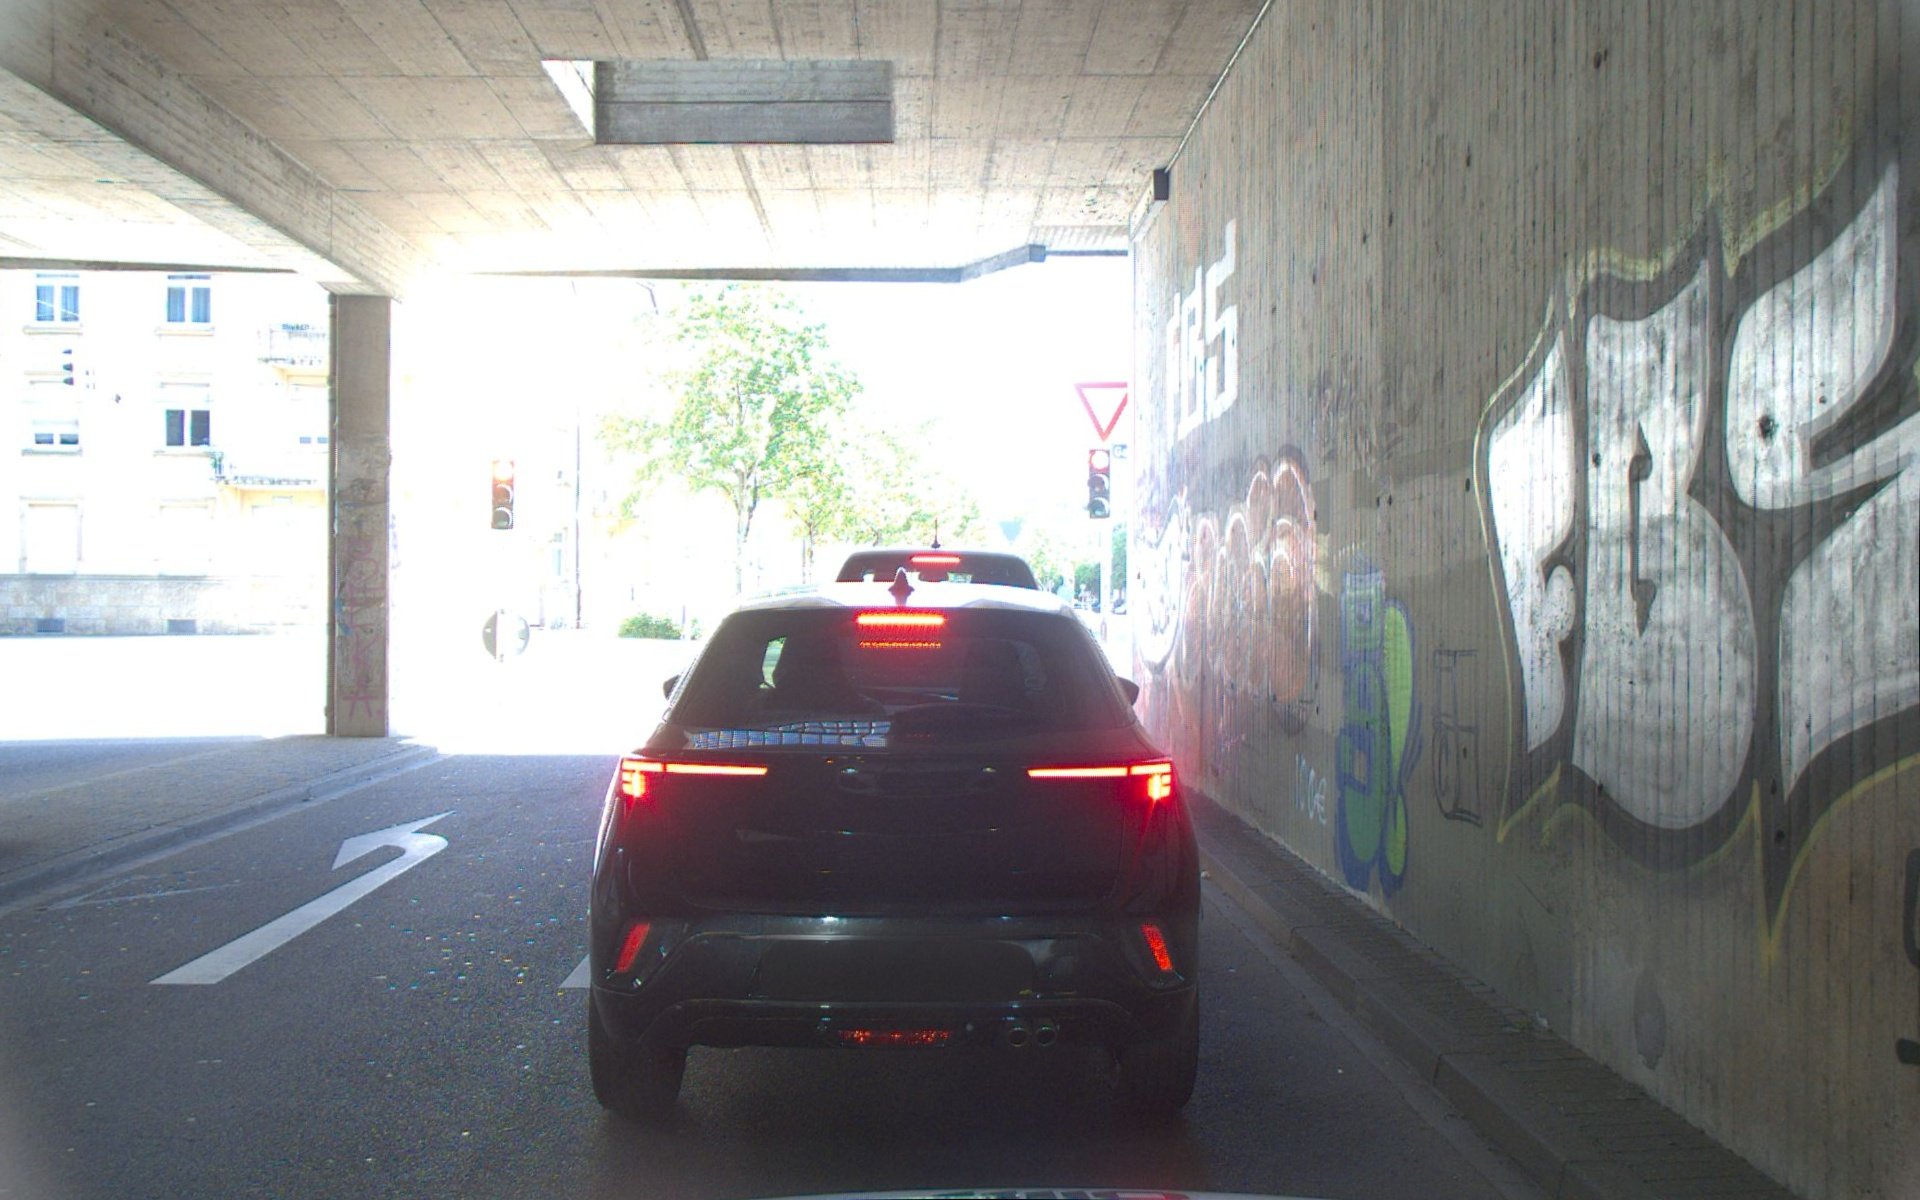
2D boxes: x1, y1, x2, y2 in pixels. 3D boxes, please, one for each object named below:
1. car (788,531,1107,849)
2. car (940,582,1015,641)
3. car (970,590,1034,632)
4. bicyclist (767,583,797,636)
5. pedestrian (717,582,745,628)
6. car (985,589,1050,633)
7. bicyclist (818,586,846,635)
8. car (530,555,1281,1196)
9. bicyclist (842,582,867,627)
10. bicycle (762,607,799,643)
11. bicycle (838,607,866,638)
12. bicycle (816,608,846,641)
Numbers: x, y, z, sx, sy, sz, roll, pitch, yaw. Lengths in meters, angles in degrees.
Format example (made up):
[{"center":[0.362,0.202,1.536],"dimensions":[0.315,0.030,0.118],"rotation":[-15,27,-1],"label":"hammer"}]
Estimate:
[{"center":[-0.100,0.527,11.880],"dimensions":[1.906,1.892,3.963],"rotation":[0,0,-1],"label":"car"},{"center":[0.490,0.339,44.175],"dimensions":[1.927,1.523,3.896],"rotation":[0,-1,1],"label":"car"},{"center":[1.613,0.450,62.212],"dimensions":[1.926,1.523,3.899],"rotation":[0,-1,8],"label":"car"},{"center":[-5.546,0.297,51.451],"dimensions":[0.713,1.609,0.815],"rotation":[1,-1,9],"label":"bicyclist"},{"center":[-10.195,0.216,73.654],"dimensions":[0.971,2.049,1.089],"rotation":[0,0,7],"label":"pedestrian"},{"center":[2.458,0.496,69.034],"dimensions":[2.173,1.749,4.463],"rotation":[0,-1,9],"label":"car"},{"center":[-4.252,0.337,54.911],"dimensions":[0.713,1.609,0.815],"rotation":[1,-1,9],"label":"bicyclist"},{"center":[-0.159,0.665,6.056],"dimensions":[1.844,1.565,3.963],"rotation":[0,0,-1],"label":"car"},{"center":[-3.841,0.173,60.102],"dimensions":[0.713,1.609,0.815],"rotation":[1,-1,9],"label":"bicyclist"},{"center":[-5.565,0.762,51.417],"dimensions":[0.716,1.086,1.690],"rotation":[1,0,9],"label":"bicycle"},{"center":[-3.910,0.818,59.961],"dimensions":[0.612,1.086,1.690],"rotation":[1,0,9],"label":"bicycle"},{"center":[-4.271,0.802,54.891],"dimensions":[0.612,1.086,1.690],"rotation":[1,0,9],"label":"bicycle"}]
